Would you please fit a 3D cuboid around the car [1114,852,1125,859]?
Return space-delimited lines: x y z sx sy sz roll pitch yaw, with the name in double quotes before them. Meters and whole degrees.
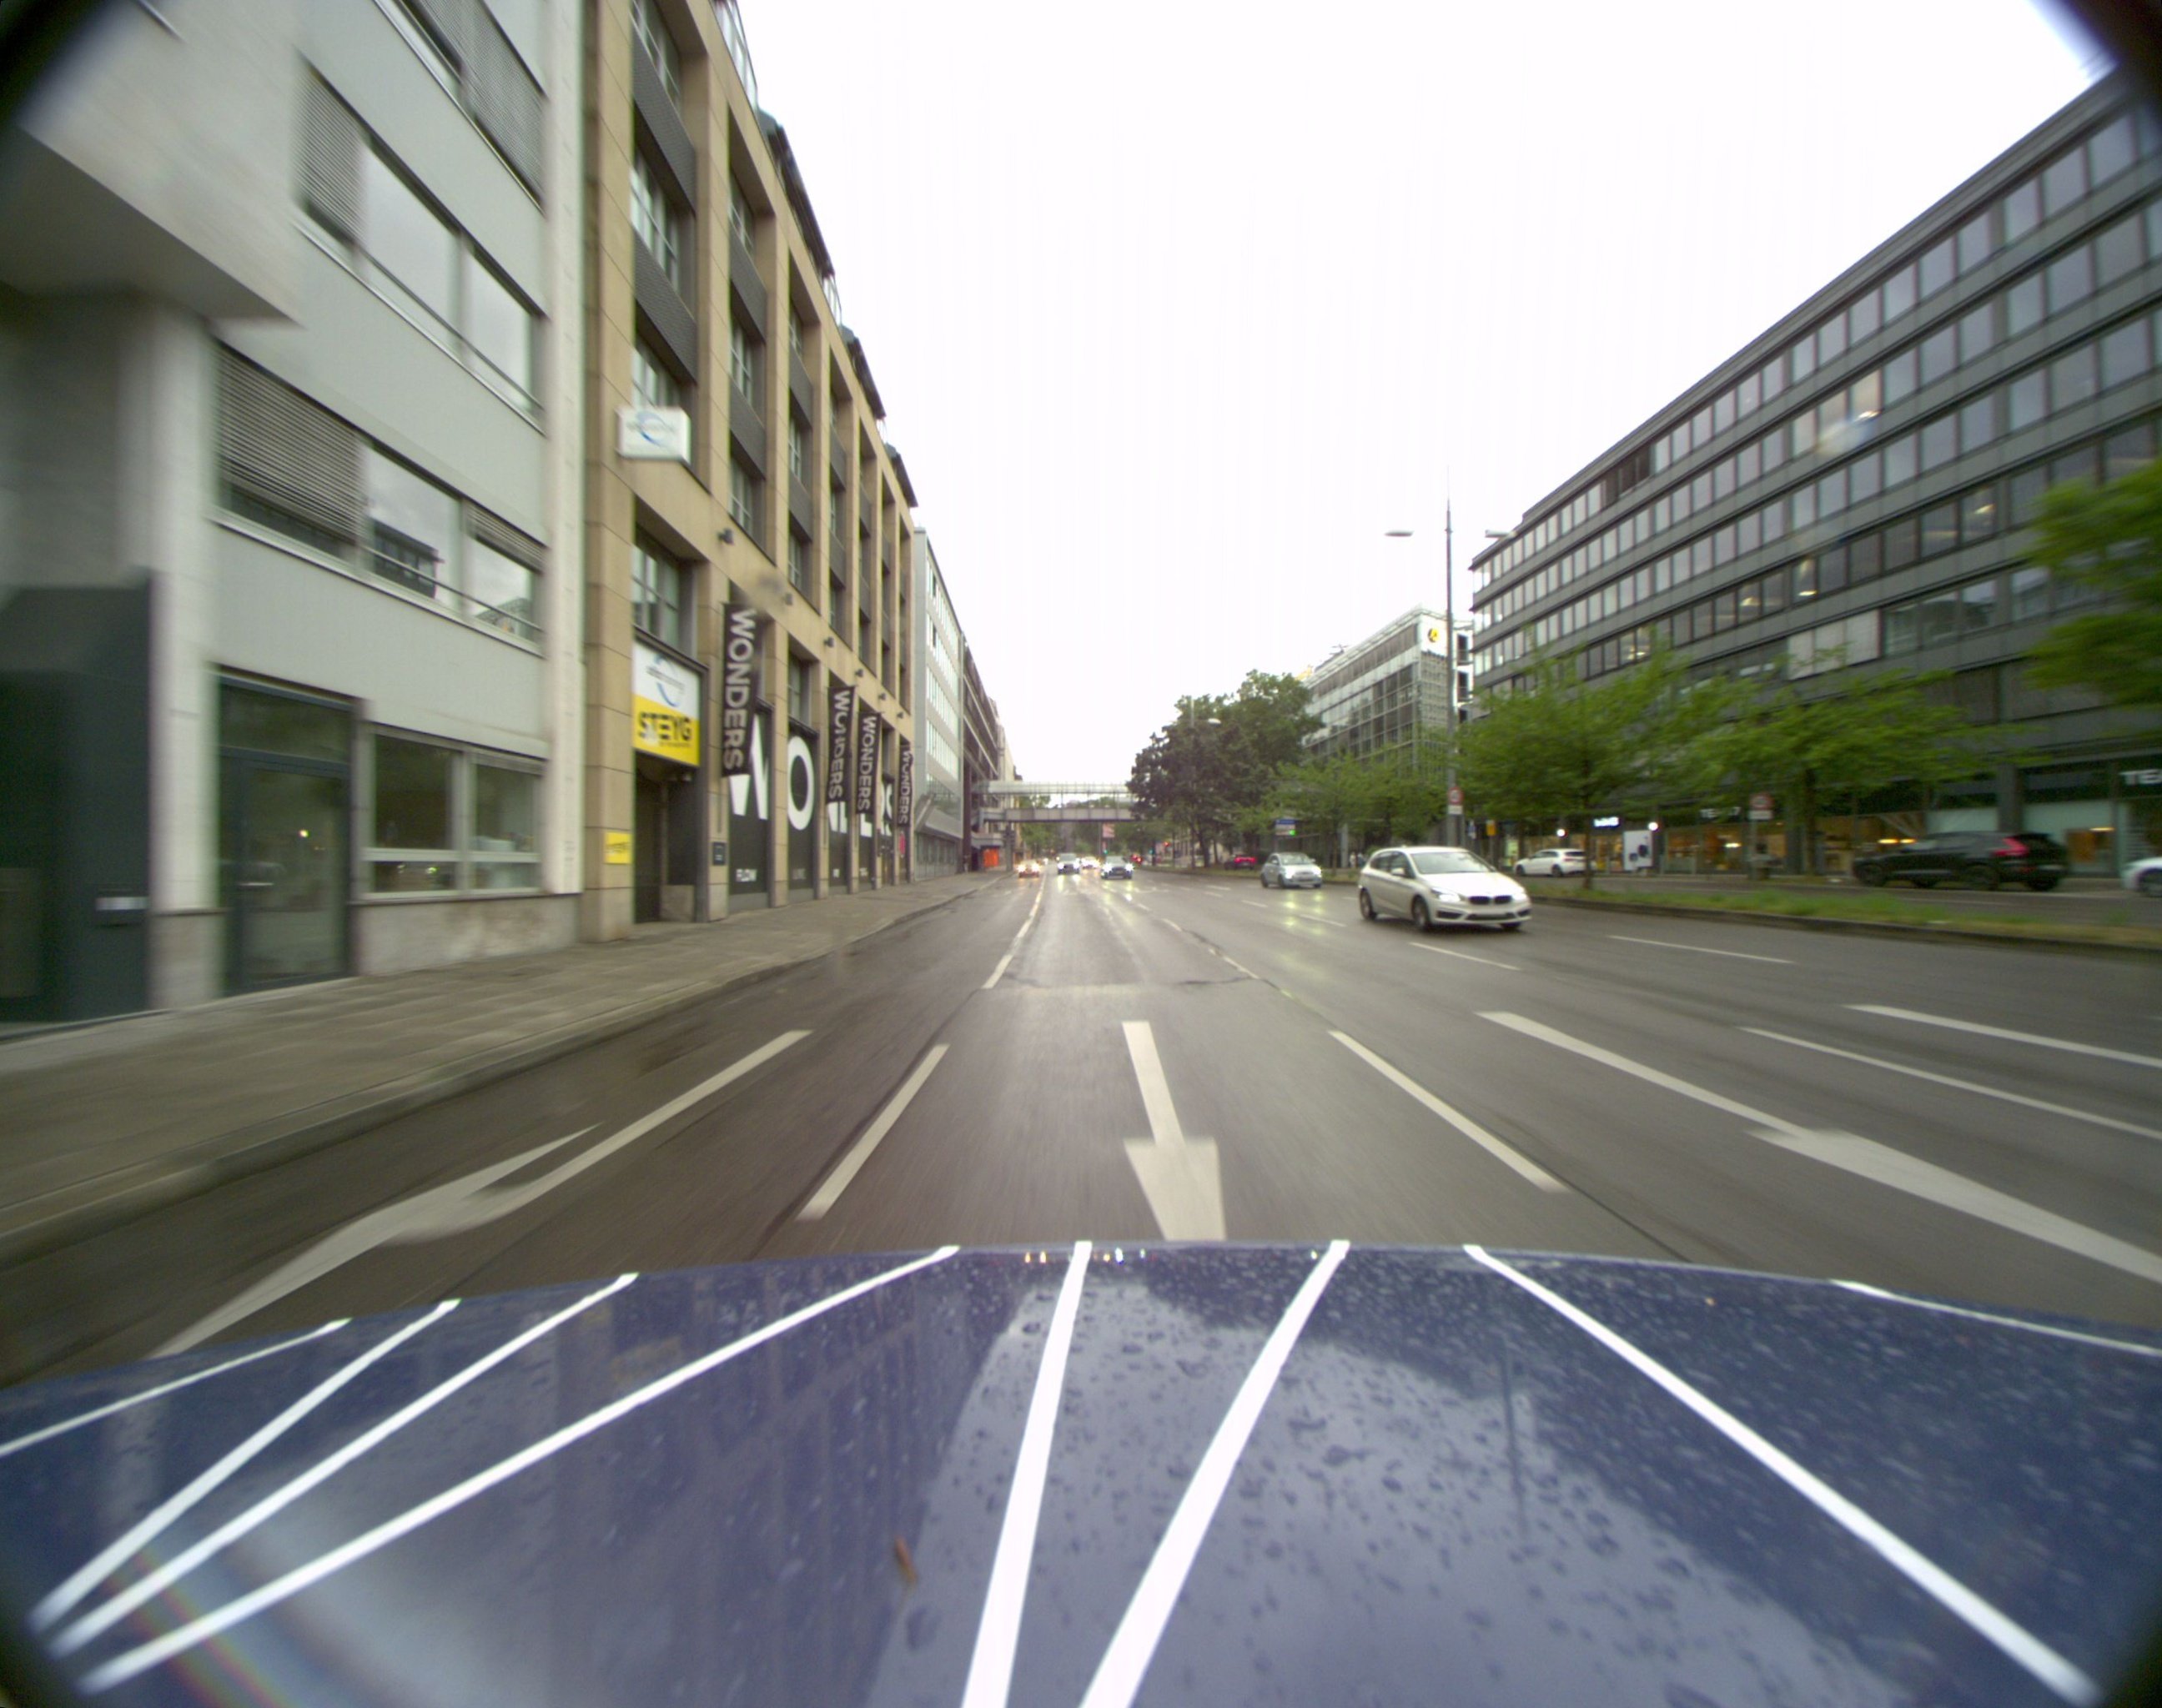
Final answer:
"car" 7.847 0.267 154.867 1.732 1.303 4.075 -1 0 -5

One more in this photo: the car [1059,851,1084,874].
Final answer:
"car" -0.935 0.730 69.973 2.163 2.014 5.040 -2 0 -2

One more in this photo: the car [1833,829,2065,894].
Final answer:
"car" 25.046 0.184 22.208 1.813 1.651 4.309 -2 0 0

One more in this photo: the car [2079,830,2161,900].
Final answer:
"car" 25.206 0.232 16.066 1.813 1.477 4.771 -4 0 -2

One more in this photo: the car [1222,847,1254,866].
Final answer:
"car" 14.894 0.211 72.279 1.814 1.508 4.713 -1 3 -4

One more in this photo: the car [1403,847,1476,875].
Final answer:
"car" 20.194 0.358 42.977 1.814 1.467 4.299 -1 0 -4

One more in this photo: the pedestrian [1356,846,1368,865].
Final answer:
"pedestrian" 26.979 0.137 73.029 0.729 1.822 0.924 -2 1 -2

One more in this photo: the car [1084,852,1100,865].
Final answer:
"car" 1.301 0.543 90.128 1.853 1.434 3.870 -2 0 0

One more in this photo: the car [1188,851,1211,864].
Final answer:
"car" 13.780 0.427 88.416 1.732 1.426 4.311 -1 0 -4

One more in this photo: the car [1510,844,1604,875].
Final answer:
"car" 24.141 0.267 38.725 1.814 1.436 4.308 -2 0 -5

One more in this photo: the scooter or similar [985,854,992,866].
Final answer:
"scooter or similar" -9.417 0.616 77.479 0.472 1.266 1.305 -2 1 -19

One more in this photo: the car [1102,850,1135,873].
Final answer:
"car" 2.540 0.486 52.251 1.941 1.426 4.287 -1 0 -1

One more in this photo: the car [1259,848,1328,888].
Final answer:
"car" 9.091 0.566 32.773 1.788 1.564 3.690 -1 0 -2

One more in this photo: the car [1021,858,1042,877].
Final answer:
"car" -4.073 1.078 62.602 1.667 1.464 3.482 -2 0 -3

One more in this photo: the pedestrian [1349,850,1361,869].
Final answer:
"pedestrian" 26.314 0.558 73.006 0.729 1.788 0.924 -2 1 -2

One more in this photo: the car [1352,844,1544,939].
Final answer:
"car" 6.968 0.632 14.998 1.788 1.564 4.288 -1 0 1
